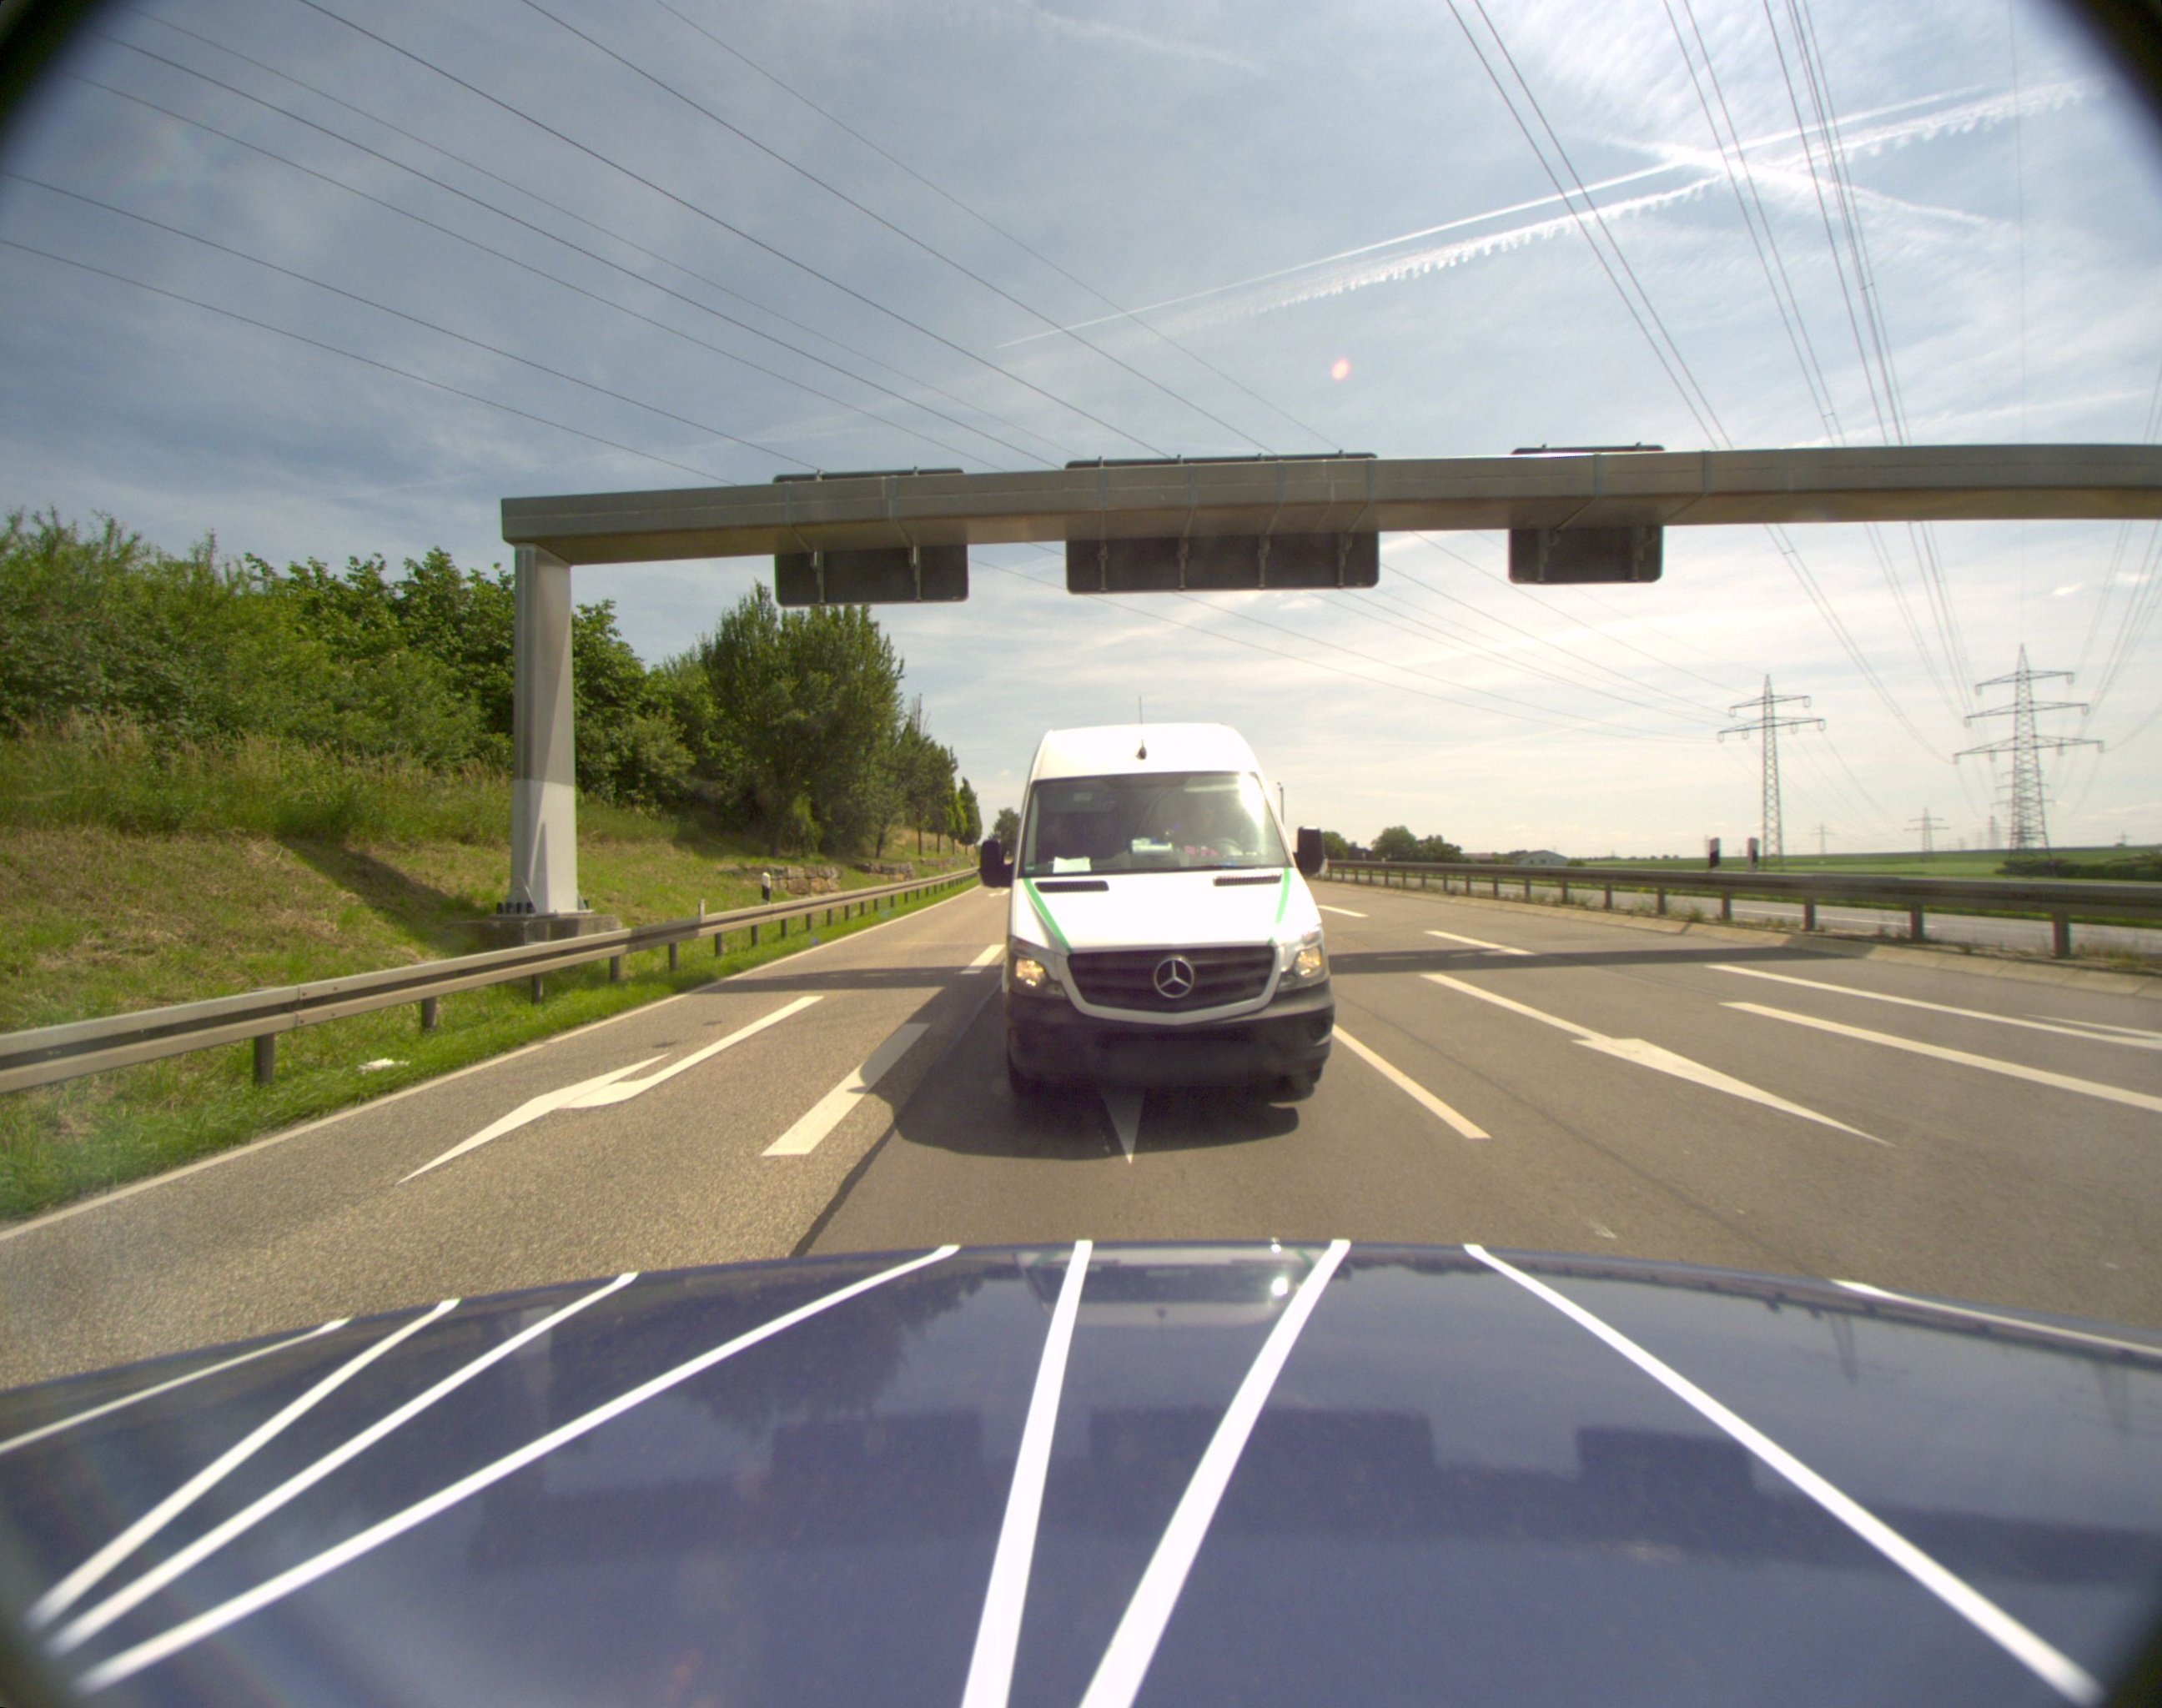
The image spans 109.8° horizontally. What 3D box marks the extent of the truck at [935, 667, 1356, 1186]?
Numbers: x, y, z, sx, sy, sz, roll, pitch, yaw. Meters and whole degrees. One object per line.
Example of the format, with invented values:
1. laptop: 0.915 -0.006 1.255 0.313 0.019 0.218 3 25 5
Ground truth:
1. truck: 0.415 0.354 6.309 1.998 2.518 5.105 -2 1 2
